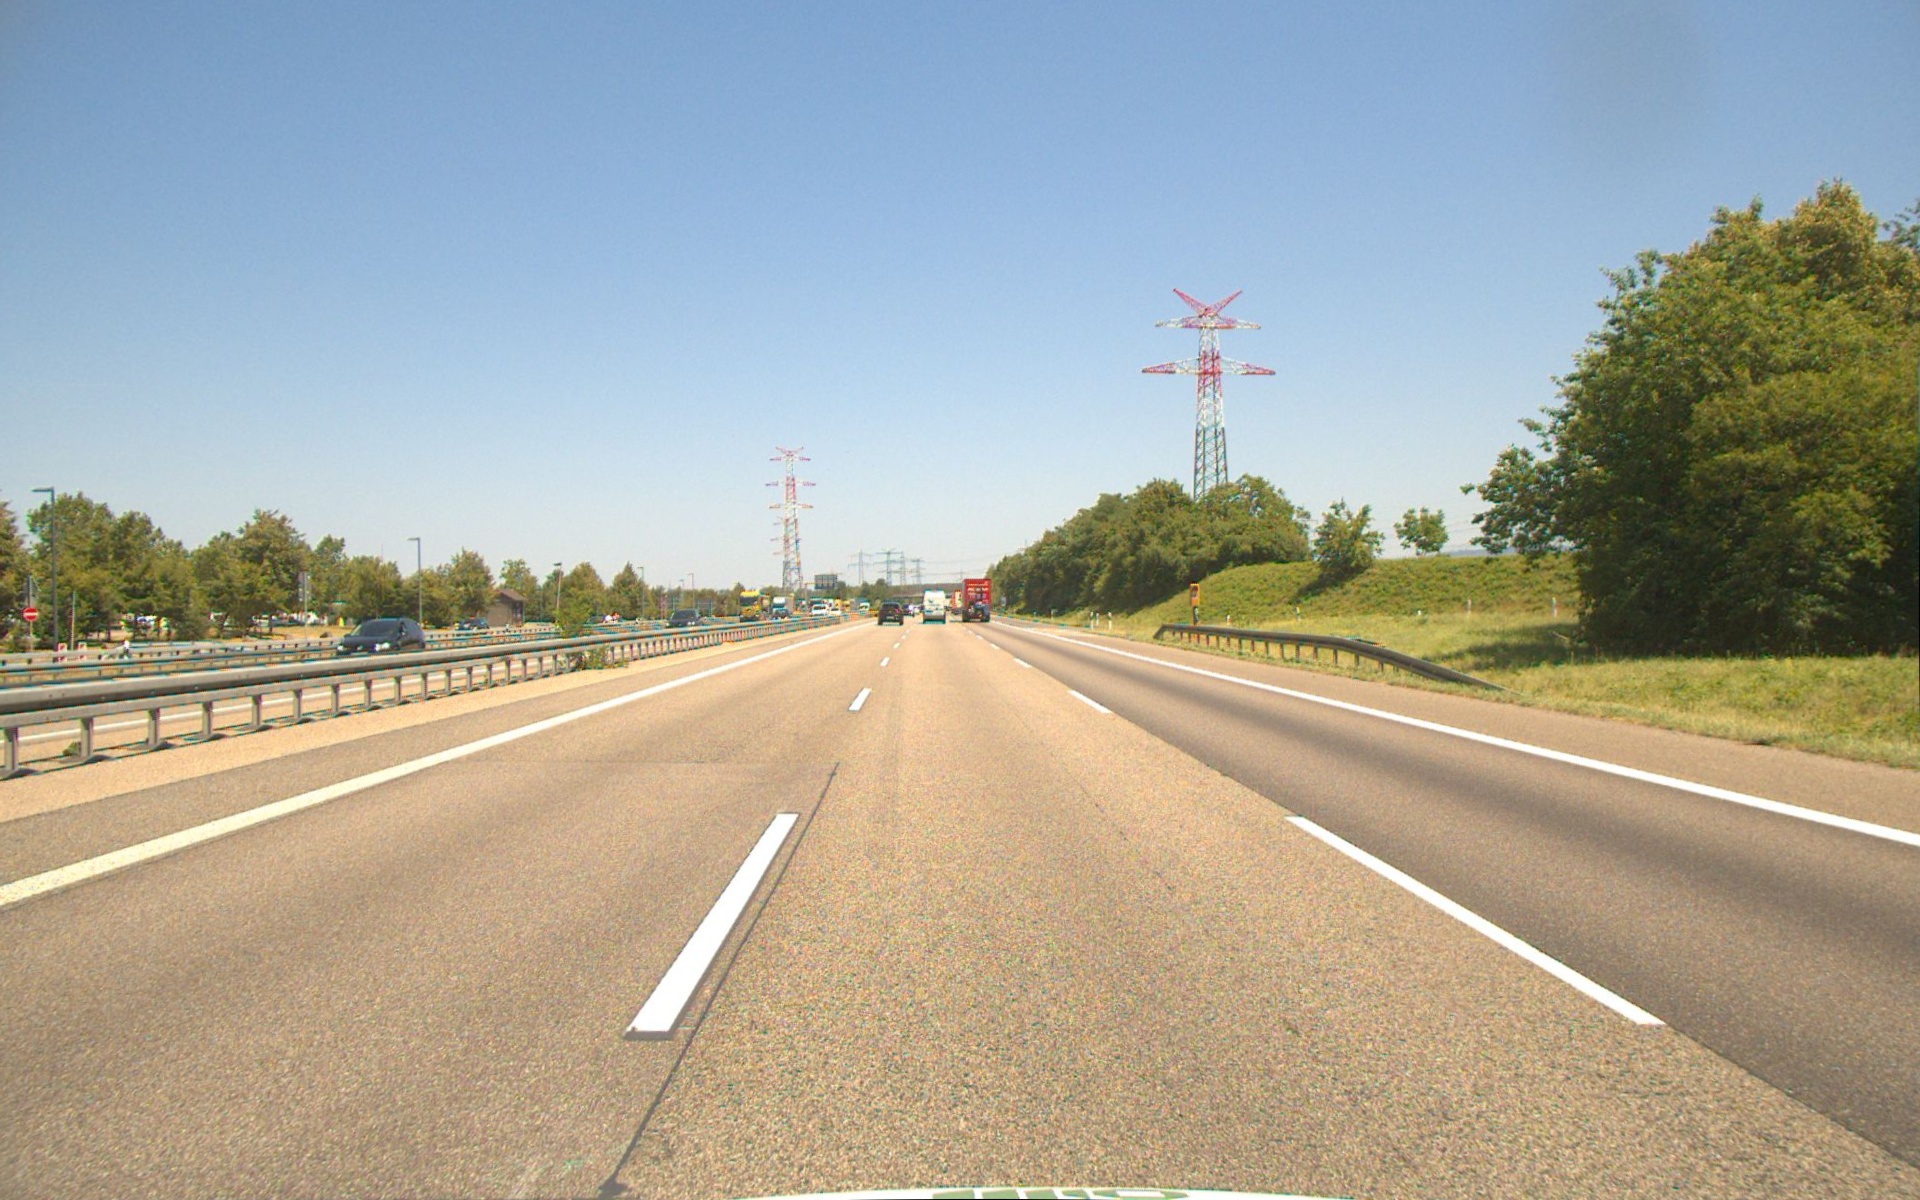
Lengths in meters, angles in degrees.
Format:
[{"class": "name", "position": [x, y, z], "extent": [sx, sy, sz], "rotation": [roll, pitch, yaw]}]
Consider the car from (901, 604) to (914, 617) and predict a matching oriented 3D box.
[{"class": "car", "position": [-7.087, 1.449, 224.909], "extent": [1.712, 1.662, 4.002], "rotation": [1, 0, -1]}]

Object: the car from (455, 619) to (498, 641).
[{"class": "car", "position": [-37.976, 2.369, 130.098], "extent": [2.011, 1.578, 4.888], "rotation": [-3, 0, -2]}]

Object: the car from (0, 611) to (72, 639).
[{"class": "car", "position": [-74.781, 1.978, 132.513], "extent": [6.142, 2.161, 2.444], "rotation": [1, 0, -38]}]

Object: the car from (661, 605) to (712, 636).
[{"class": "car", "position": [-14.876, 1.094, 90.224], "extent": [2.011, 1.578, 4.888], "rotation": [-3, 0, -2]}]

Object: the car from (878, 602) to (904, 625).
[{"class": "car", "position": [-5.349, 1.041, 129.433], "extent": [1.953, 1.780, 3.999], "rotation": [1, 0, -2]}]

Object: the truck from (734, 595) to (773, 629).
[{"class": "truck", "position": [-24.181, 1.407, 194.401], "extent": [3.107, 3.877, 13.527], "rotation": [-1, 0, -1]}]

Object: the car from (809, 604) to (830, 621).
[{"class": "car", "position": [-15.981, 1.449, 188.550], "extent": [2.011, 1.875, 5.940], "rotation": [-1, 0, -2]}]

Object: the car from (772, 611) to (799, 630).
[{"class": "car", "position": [-15.734, 1.817, 149.529], "extent": [2.011, 1.578, 4.888], "rotation": [-3, 0, -2]}]

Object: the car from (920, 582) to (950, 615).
[{"class": "car", "position": [-2.236, -0.122, 145.483], "extent": [2.568, 2.807, 6.094], "rotation": [1, 0, -1]}]

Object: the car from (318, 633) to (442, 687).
[{"class": "car", "position": [-17.871, 1.829, 51.227], "extent": [2.183, 1.404, 4.888], "rotation": [-3, 0, -2]}]

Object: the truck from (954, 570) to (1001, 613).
[{"class": "truck", "position": [1.623, -0.760, 163.185], "extent": [4.243, 4.010, 16.074], "rotation": [1, 0, -1]}]
